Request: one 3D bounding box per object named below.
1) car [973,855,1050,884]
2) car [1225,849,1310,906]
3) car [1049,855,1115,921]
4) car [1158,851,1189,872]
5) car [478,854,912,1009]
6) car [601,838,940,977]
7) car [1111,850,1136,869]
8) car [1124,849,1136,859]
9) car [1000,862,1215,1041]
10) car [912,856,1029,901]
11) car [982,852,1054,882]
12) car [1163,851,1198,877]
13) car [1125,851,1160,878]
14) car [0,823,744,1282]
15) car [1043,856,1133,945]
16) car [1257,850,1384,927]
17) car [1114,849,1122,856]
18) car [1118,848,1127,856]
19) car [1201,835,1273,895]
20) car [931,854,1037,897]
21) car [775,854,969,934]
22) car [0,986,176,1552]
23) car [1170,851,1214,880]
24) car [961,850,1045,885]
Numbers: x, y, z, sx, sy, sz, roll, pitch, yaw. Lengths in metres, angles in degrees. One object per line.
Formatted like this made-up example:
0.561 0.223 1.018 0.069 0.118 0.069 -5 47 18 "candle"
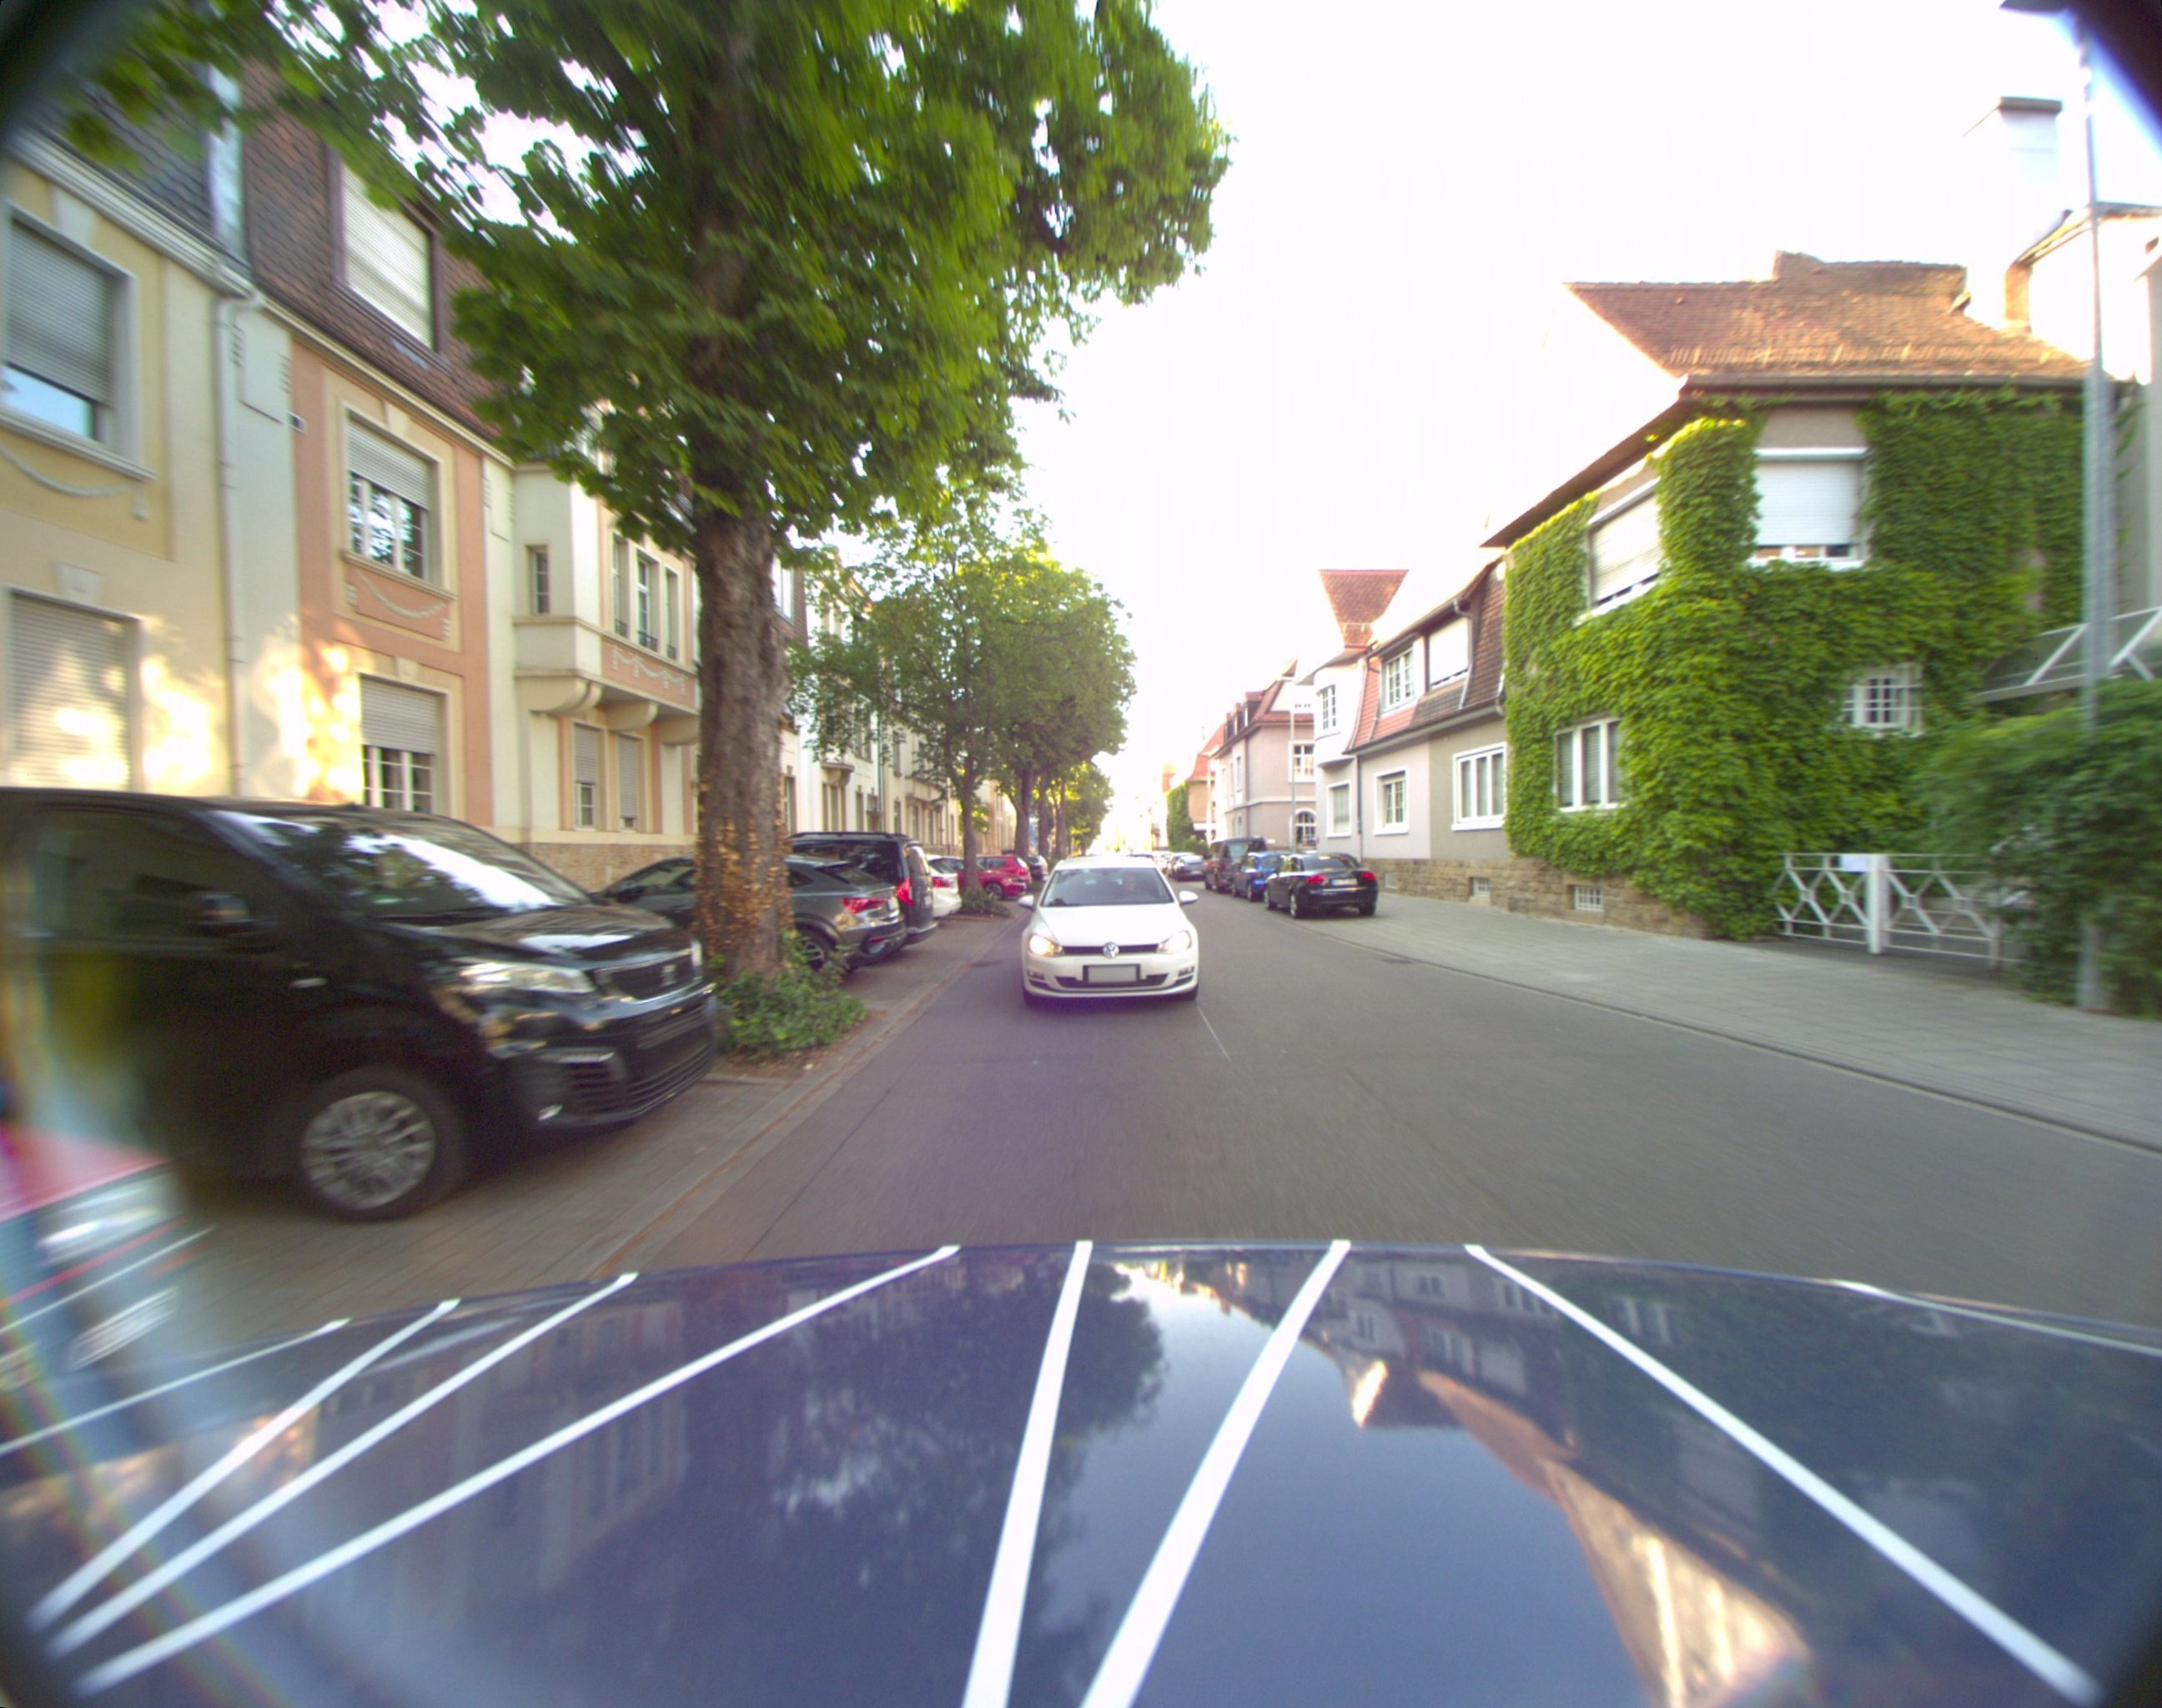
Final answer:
-3.392 0.737 37.480 3.621 1.395 1.538 0 1 2 "car"
5.699 0.659 23.663 1.610 1.455 4.023 -4 1 1 "car"
0.088 0.822 20.237 1.560 1.546 3.739 1 0 2 "car"
6.512 0.498 53.757 1.719 1.363 3.945 -3 0 1 "car"
-4.203 0.832 8.791 4.172 1.583 1.594 1 1 -3 "car"
-4.242 0.708 10.860 4.172 1.816 1.594 1 1 -3 "car"
3.427 0.463 61.887 1.785 1.453 4.300 1 0 0 "car"
7.531 0.037 117.894 1.643 1.461 3.690 -3 0 2 "car"
0.228 0.864 8.573 1.799 1.420 4.024 -2 0 0 "car"
-3.605 0.798 25.148 3.621 1.395 1.538 1 1 2 "car"
-3.312 0.658 40.229 3.621 1.555 1.538 0 1 2 "car"
5.892 0.556 45.274 1.541 1.363 3.945 -3 0 1 "car"
3.532 0.577 43.883 1.620 1.493 3.591 1 0 -1 "car"
-4.572 0.762 3.900 4.834 1.814 1.880 1 1 -3 "car"
0.185 0.836 15.625 1.599 1.546 4.000 1 0 2 "car"
5.401 0.711 17.656 1.751 1.420 4.024 -4 1 2 "car"
8.615 -0.384 176.519 1.643 1.461 3.690 -3 0 2 "car"
8.232 -0.441 152.526 1.643 1.461 3.690 -3 0 2 "car"
5.720 0.349 28.390 1.719 1.961 4.311 -4 1 1 "car"
-3.487 0.771 27.711 3.621 1.456 1.538 1 1 2 "car"
-4.220 0.787 15.738 3.623 1.541 1.537 1 1 -3 "car"
-4.580 1.031 1.382 3.921 1.313 1.558 1 1 -1 "car"
5.779 0.572 40.008 1.719 1.363 4.334 -3 0 1 "car"
-3.486 0.589 34.316 3.621 1.555 1.538 0 1 2 "car"
